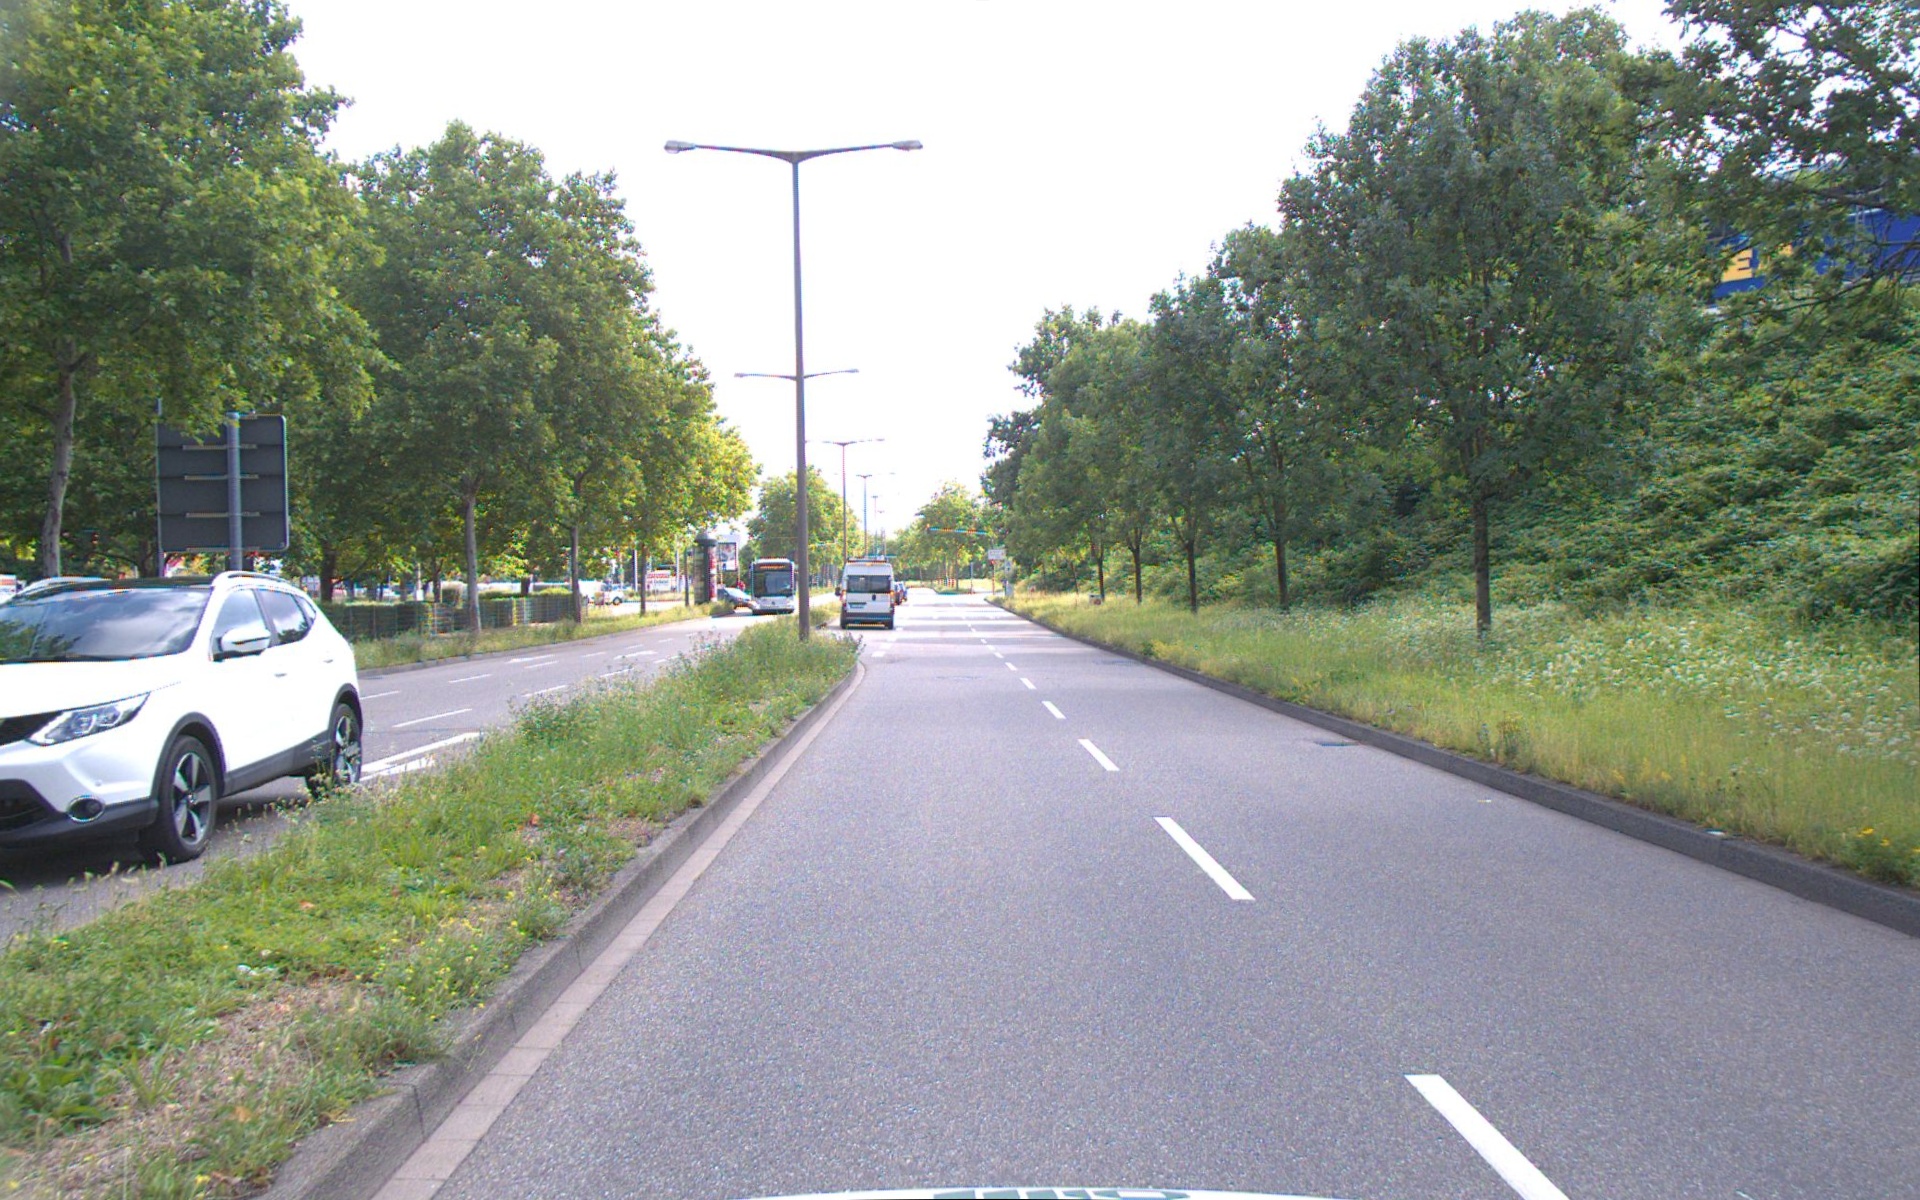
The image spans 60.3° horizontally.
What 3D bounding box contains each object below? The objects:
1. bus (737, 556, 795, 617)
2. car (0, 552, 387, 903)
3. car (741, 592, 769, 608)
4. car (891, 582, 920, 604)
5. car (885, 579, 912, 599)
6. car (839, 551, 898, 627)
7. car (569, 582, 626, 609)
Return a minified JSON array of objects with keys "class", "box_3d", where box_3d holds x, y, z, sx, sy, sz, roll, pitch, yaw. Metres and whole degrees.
[{"class":"bus","box_3d":[-11.458,-0.725,98.706,3.049,3.332,12.323,-2,0,-5]},{"class":"car","box_3d":[-5.087,0.634,10.117,1.778,1.668,4.349,-3,0,-3]},{"class":"car","box_3d":[-14.149,0.035,114.284,1.527,1.059,3.413,-1,0,-1]},{"class":"car","box_3d":[-3.830,-0.504,116.248,1.771,1.496,3.851,-1,0,-6]},{"class":"car","box_3d":[-4.780,-0.836,128.019,1.771,1.496,3.851,-1,0,-6]},{"class":"car","box_3d":[-3.587,-0.418,64.197,2.154,2.774,4.927,1,0,-4]},{"class":"car","box_3d":[-28.509,-0.333,130.048,3.963,1.870,1.837,3,-4,-41]}]
